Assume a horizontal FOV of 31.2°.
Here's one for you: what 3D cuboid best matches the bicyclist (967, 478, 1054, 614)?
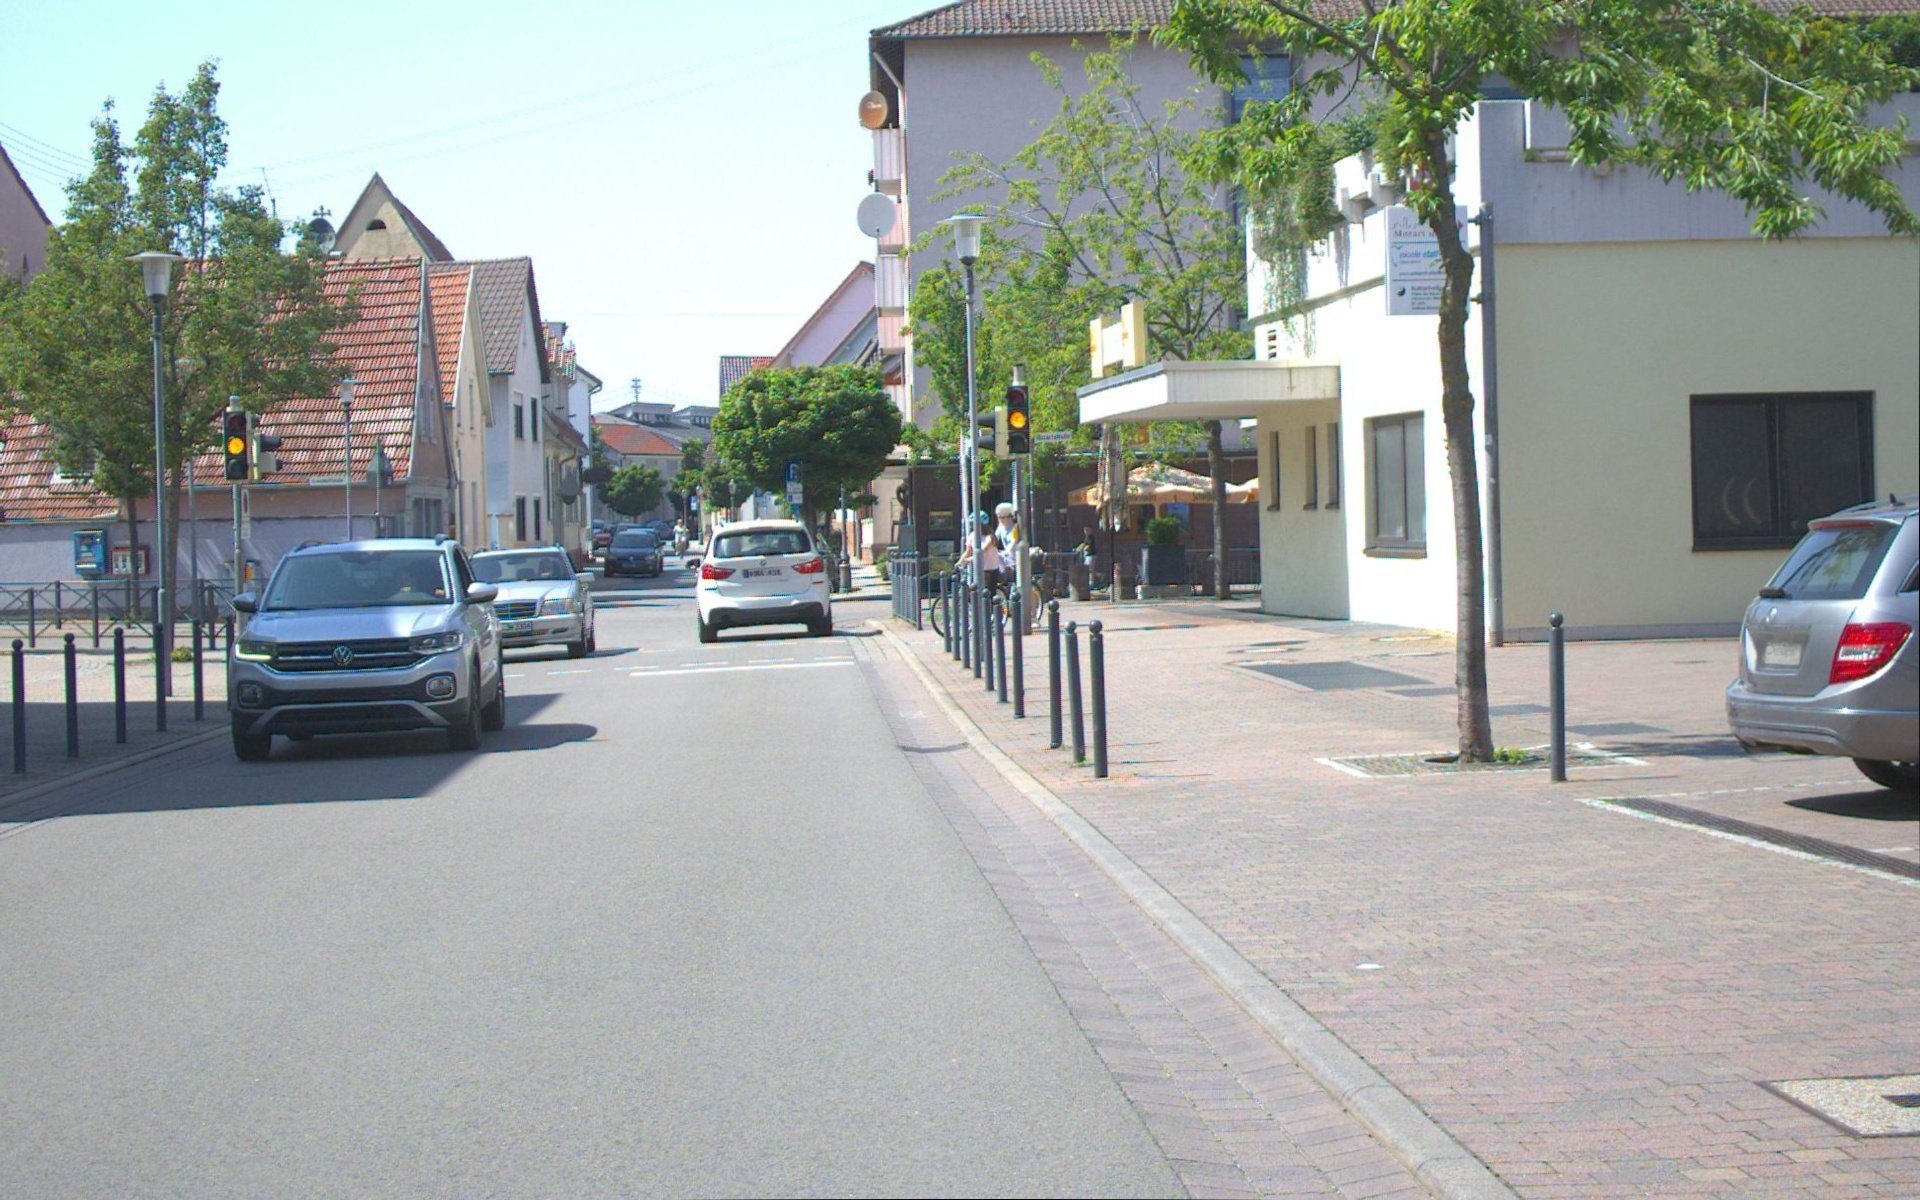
[{"bbox_3d":[0.637,-0.685,43.299,0.759,1.658,0.670,-5,2,-43],"label":"bicyclist"}]

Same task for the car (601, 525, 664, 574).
[{"bbox_3d":[-10.711,-1.663,112.509,1.714,1.512,3.787,-1,1,-1],"label":"car"}]

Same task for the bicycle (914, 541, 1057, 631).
[{"bbox_3d":[0.320,-0.180,41.729,0.675,0.954,1.892,-2,3,38],"label":"bicycle"}]

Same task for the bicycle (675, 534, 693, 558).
[{"bbox_3d":[-11.895,-2.331,148.095,0.664,1.003,1.898,-2,1,-2],"label":"bicycle"}]

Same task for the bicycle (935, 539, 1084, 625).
[{"bbox_3d":[0.628,-0.235,43.270,1.891,0.954,0.675,-5,2,-44],"label":"bicycle"}]

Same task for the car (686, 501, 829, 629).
[{"bbox_3d":[-2.746,-0.507,47.342,1.833,1.646,4.001,-2,1,-2],"label":"car"}]

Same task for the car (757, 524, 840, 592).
[{"bbox_3d":[-3.832,-1.021,81.979,1.805,1.496,4.001,-1,2,-1],"label":"car"}]

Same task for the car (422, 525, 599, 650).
[{"bbox_3d":[-5.684,-0.200,43.904,1.880,1.459,4.437,-2,1,-3],"label":"car"}]

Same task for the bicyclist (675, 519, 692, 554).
[{"bbox_3d":[-11.889,-2.724,147.994,0.673,1.477,0.770,-2,1,-2],"label":"bicyclist"}]

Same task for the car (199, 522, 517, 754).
[{"bbox_3d":[-4.455,0.223,25.974,1.851,1.568,4.001,-2,1,-3],"label":"car"}]

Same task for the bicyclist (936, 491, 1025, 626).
[{"bbox_3d":[0.251,-0.504,41.656,0.670,1.576,0.760,-2,3,38],"label":"bicyclist"}]

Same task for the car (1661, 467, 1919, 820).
[{"bbox_3d":[5.863,0.060,16.178,4.574,1.507,1.917,-3,1,-9],"label":"car"}]
